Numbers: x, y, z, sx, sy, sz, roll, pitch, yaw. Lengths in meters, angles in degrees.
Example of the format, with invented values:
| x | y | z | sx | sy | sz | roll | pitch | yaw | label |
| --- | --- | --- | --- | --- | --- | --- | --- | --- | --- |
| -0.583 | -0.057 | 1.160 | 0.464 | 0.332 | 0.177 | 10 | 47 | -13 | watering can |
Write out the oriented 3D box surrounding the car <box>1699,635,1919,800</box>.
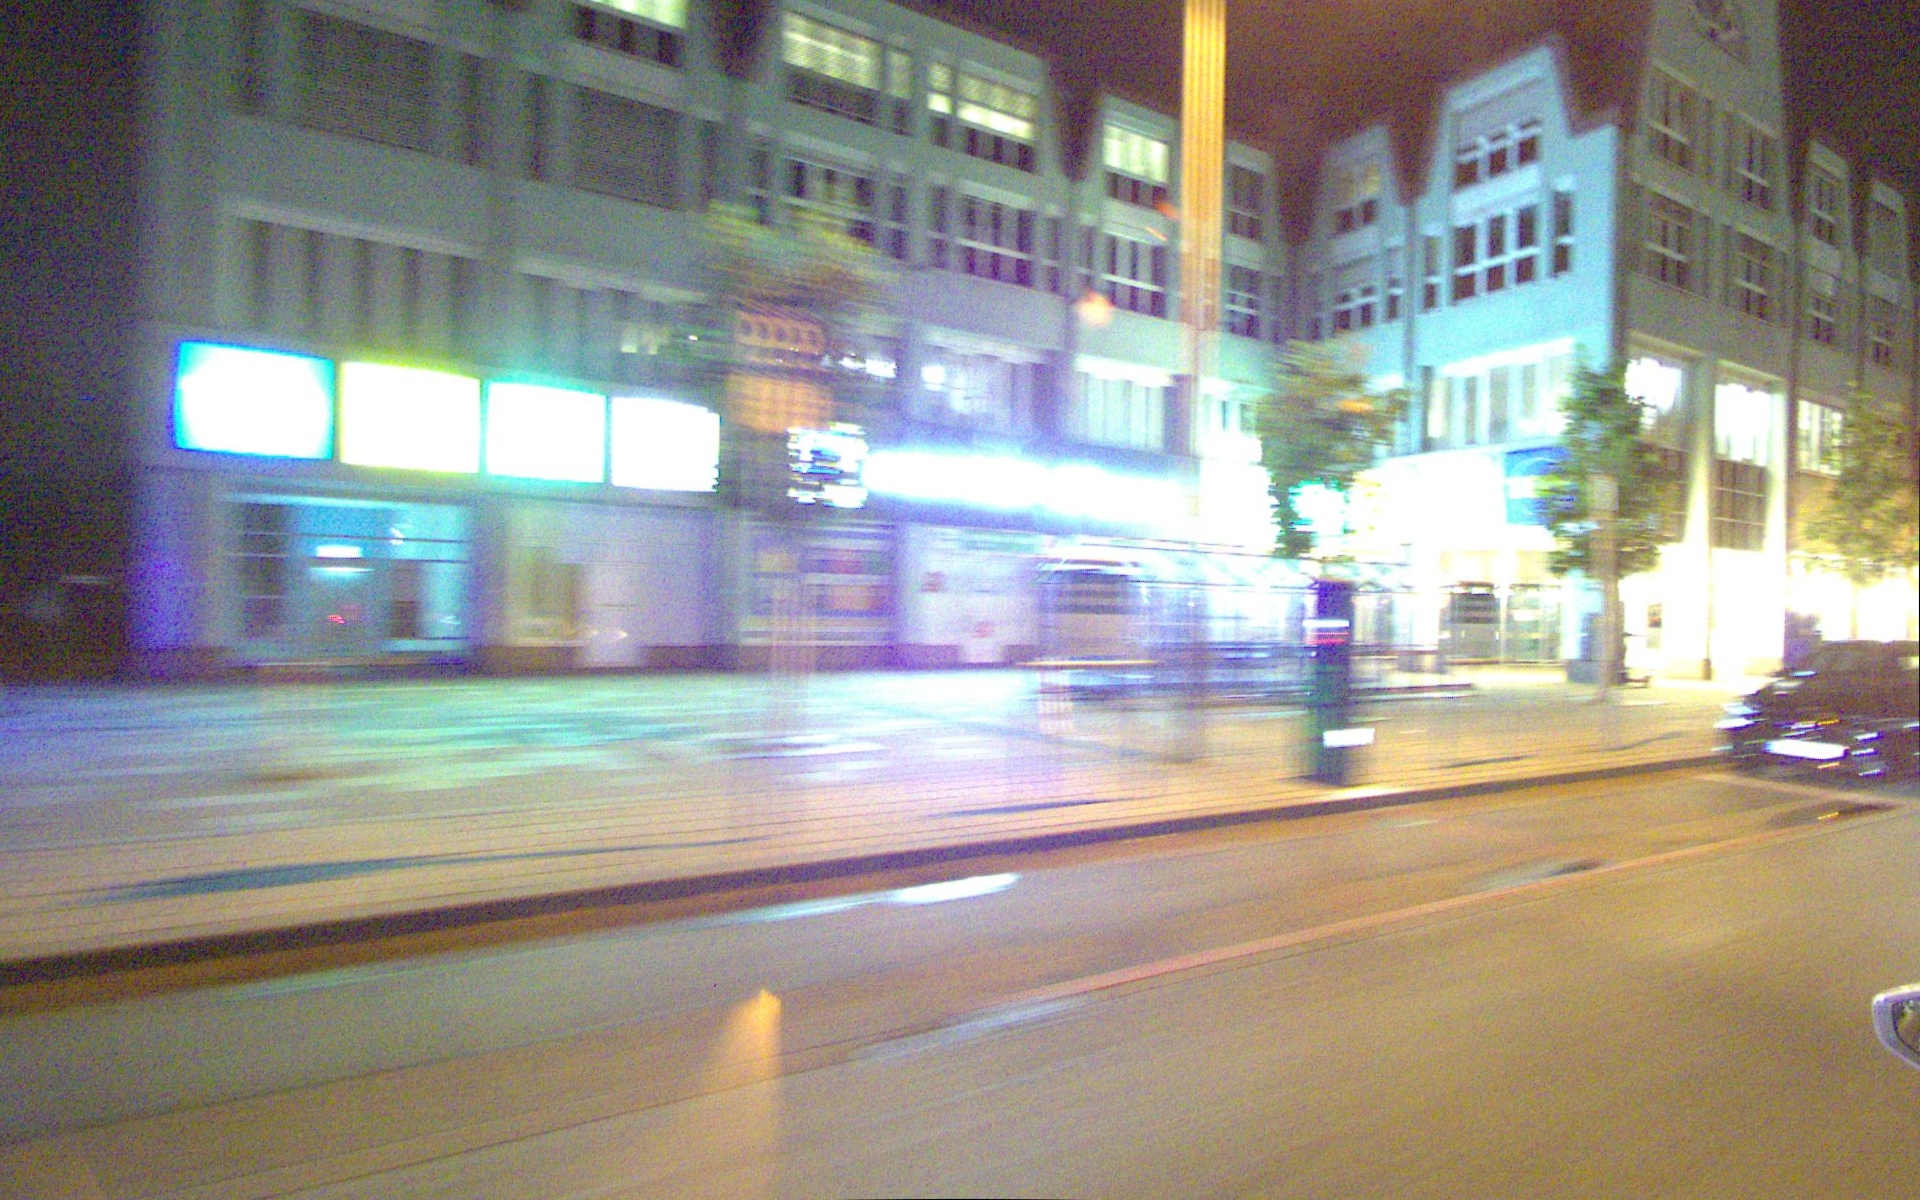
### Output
| x | y | z | sx | sy | sz | roll | pitch | yaw | label |
| --- | --- | --- | --- | --- | --- | --- | --- | --- | --- |
| 10.225 | 1.150 | 11.064 | 4.443 | 1.432 | 1.733 | 1 | 0 | -30 | car |

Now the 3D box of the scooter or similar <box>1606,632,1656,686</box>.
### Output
| x | y | z | sx | sy | sz | roll | pitch | yaw | label |
| --- | --- | --- | --- | --- | --- | --- | --- | --- | --- |
| 15.711 | 1.369 | 23.517 | 1.327 | 1.237 | 0.386 | 1 | -1 | -28 | scooter or similar |
